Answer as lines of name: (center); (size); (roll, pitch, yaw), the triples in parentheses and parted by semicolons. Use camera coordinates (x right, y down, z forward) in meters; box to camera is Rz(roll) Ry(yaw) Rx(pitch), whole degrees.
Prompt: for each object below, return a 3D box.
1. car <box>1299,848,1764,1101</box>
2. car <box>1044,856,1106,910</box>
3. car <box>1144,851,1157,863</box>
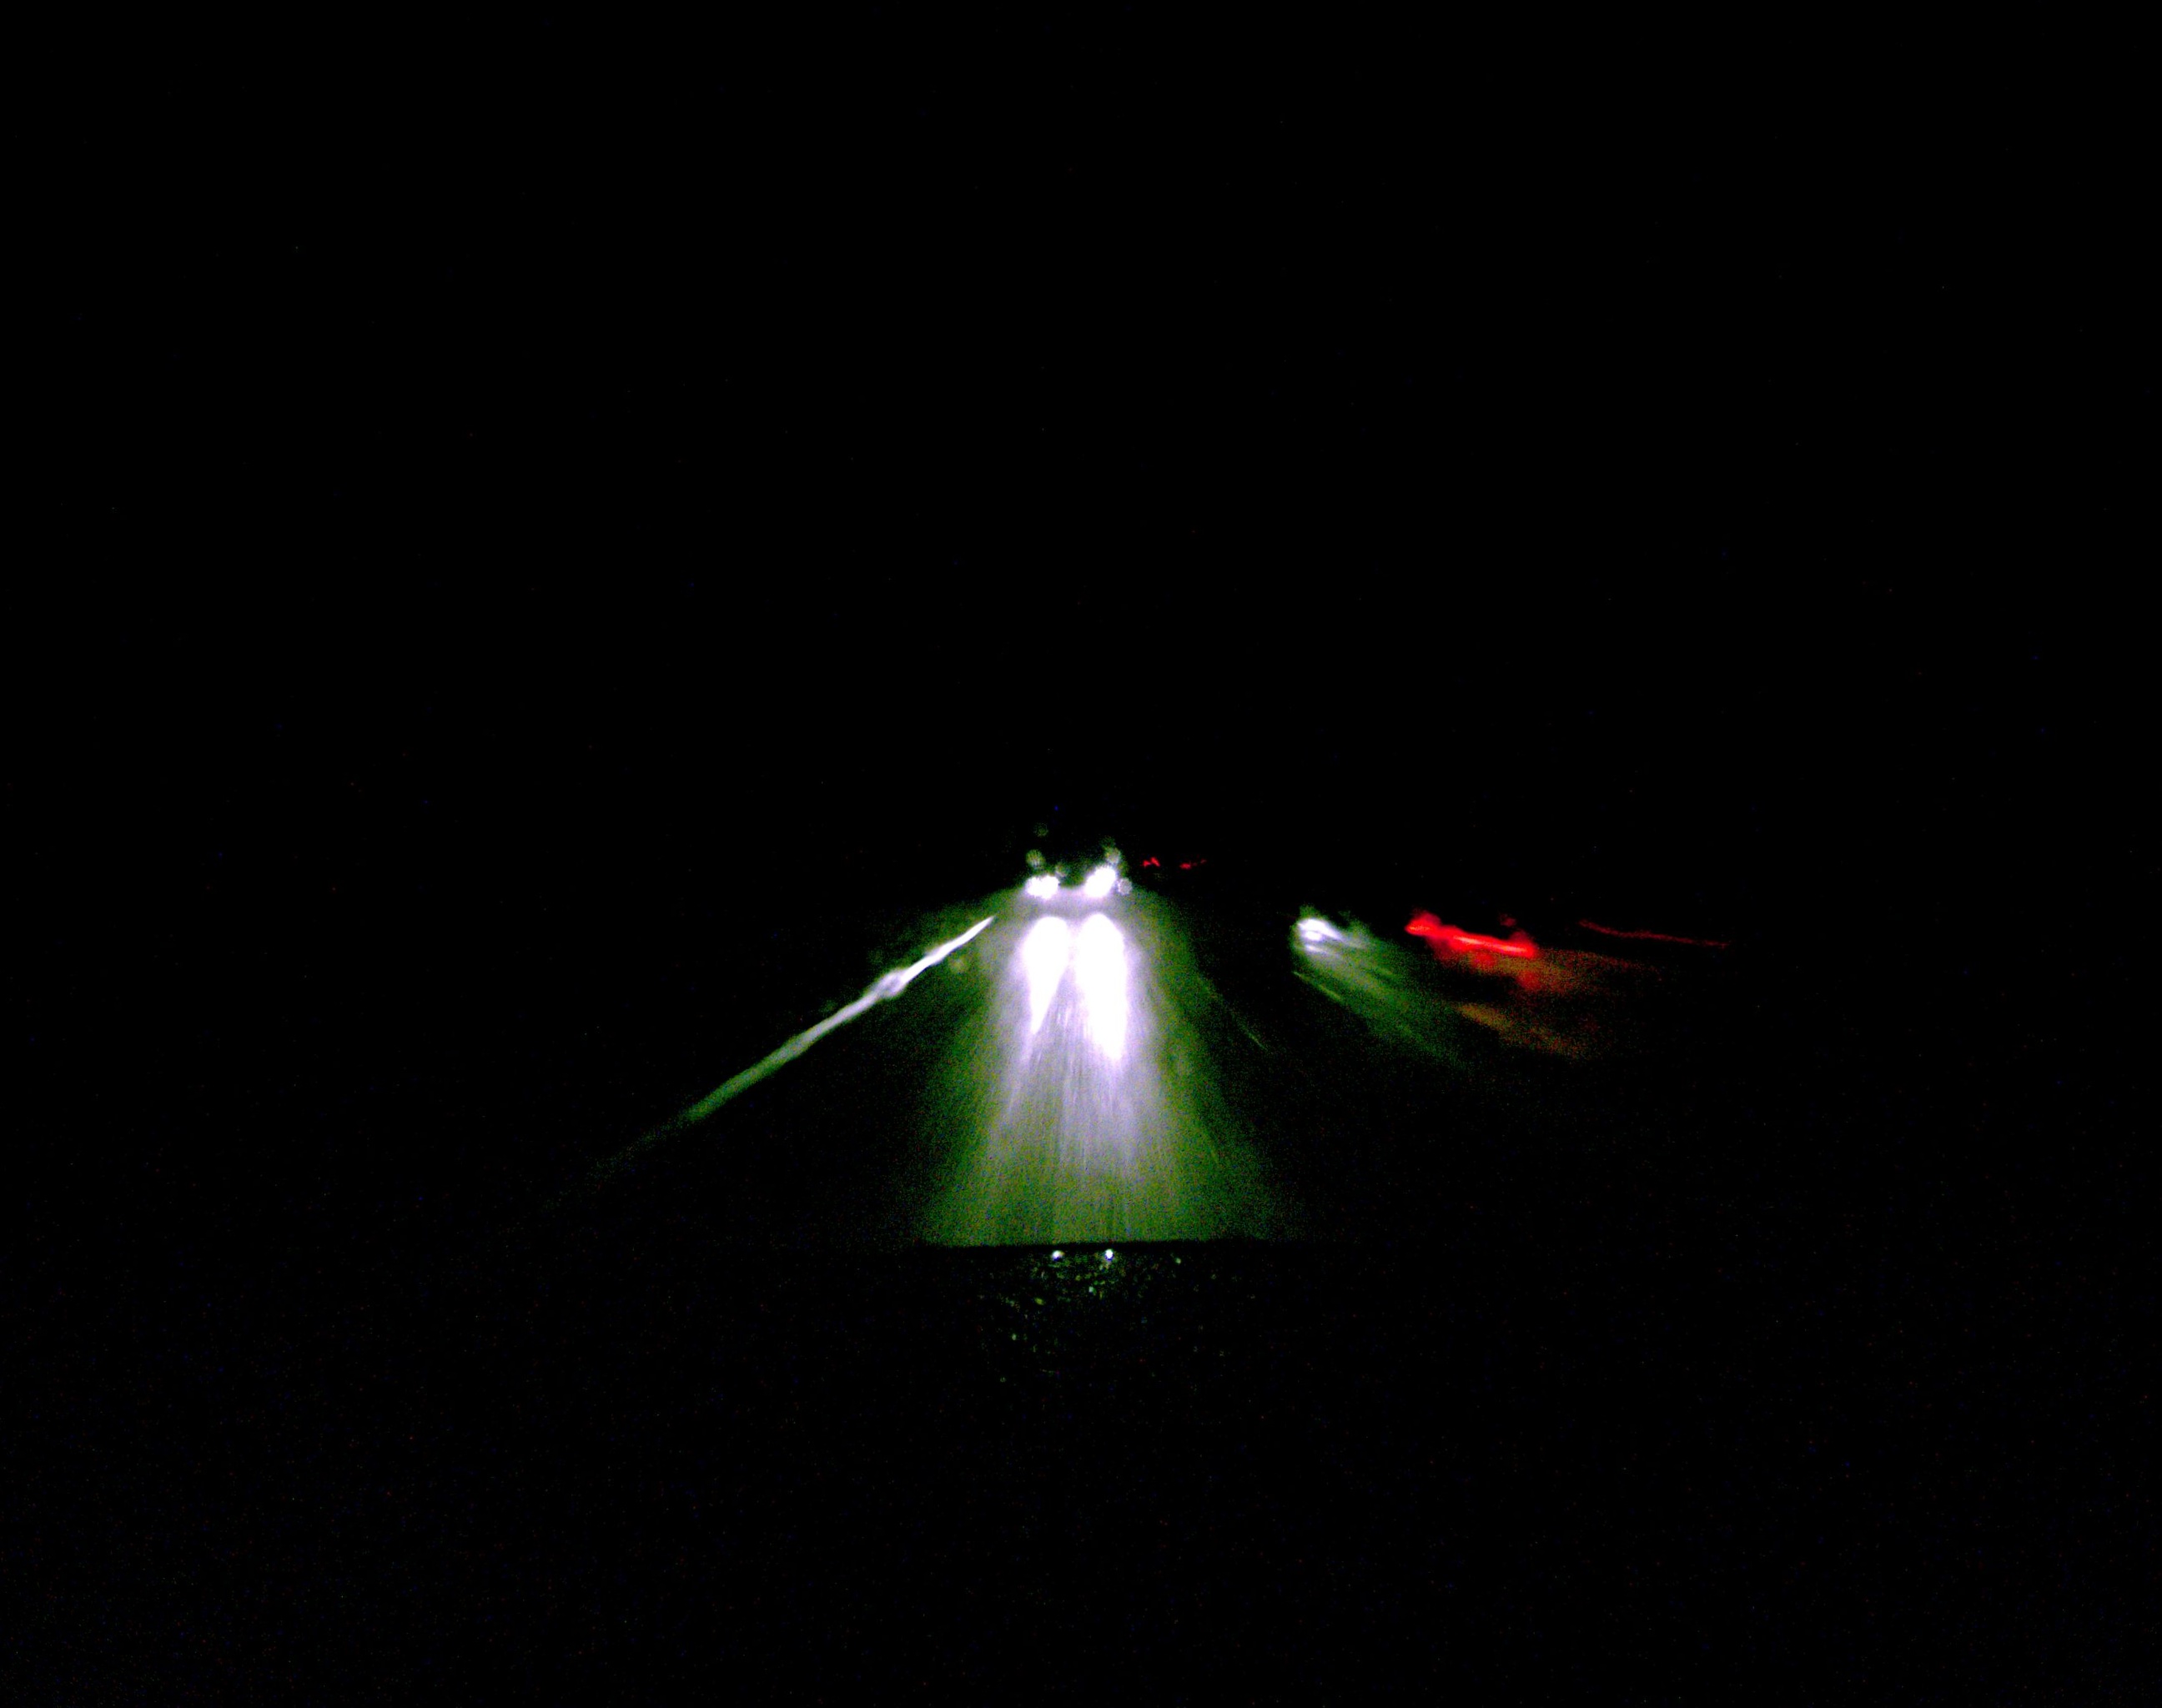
car: (3.368, 0.745, 6.627); (1.848, 1.496, 3.709); (-2, 1, 0)
car: (-0.123, 0.852, 24.159); (1.744, 1.501, 3.600); (-3, 0, 2)
car: (11.133, 0.484, 121.313); (1.998, 2.002, 4.458); (0, 0, 5)
